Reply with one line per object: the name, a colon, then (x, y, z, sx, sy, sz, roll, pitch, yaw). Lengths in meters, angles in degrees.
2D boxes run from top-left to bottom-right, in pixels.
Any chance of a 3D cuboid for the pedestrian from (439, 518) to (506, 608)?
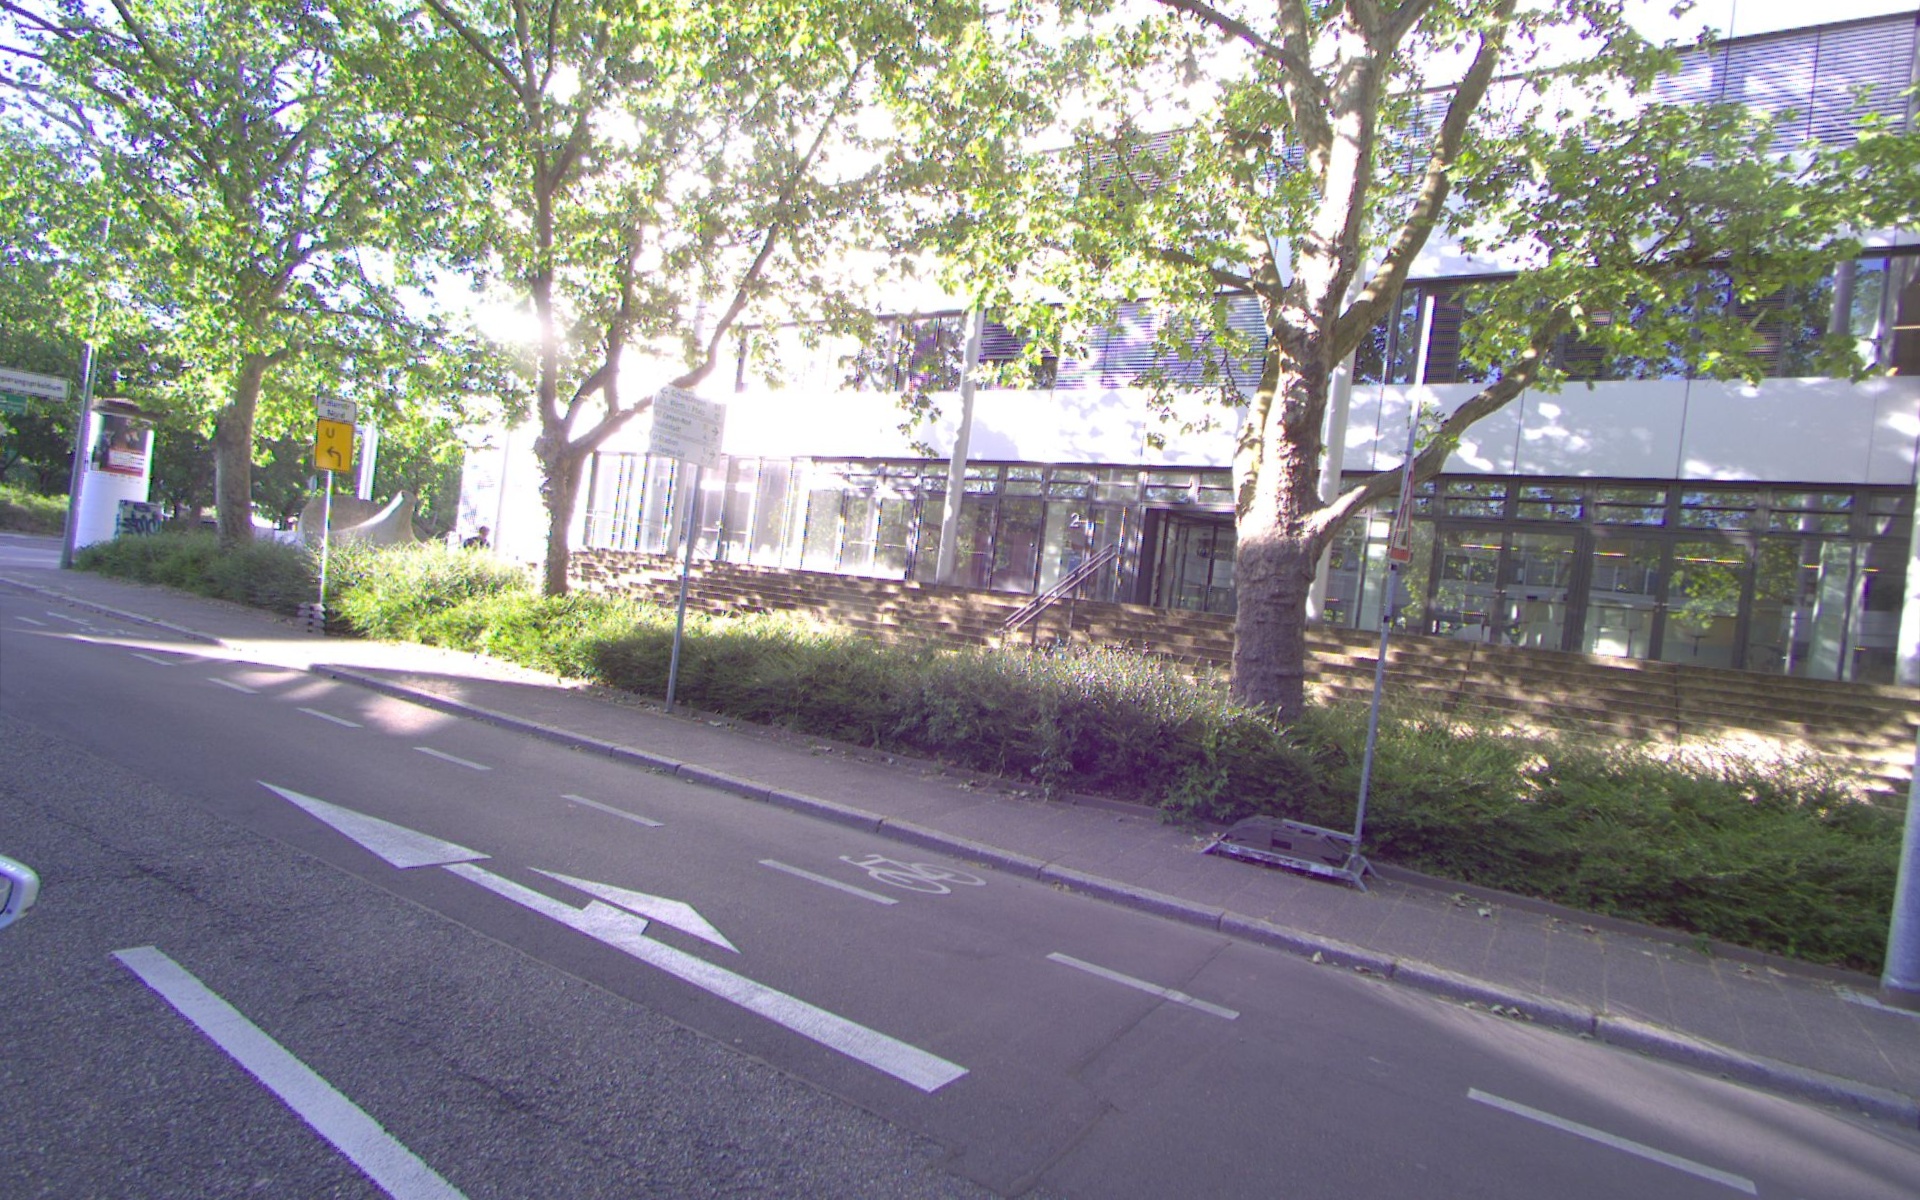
pedestrian: (-10.518, -0.797, 21.716, 0.848, 1.802, 0.785, 7, 0, 30)
